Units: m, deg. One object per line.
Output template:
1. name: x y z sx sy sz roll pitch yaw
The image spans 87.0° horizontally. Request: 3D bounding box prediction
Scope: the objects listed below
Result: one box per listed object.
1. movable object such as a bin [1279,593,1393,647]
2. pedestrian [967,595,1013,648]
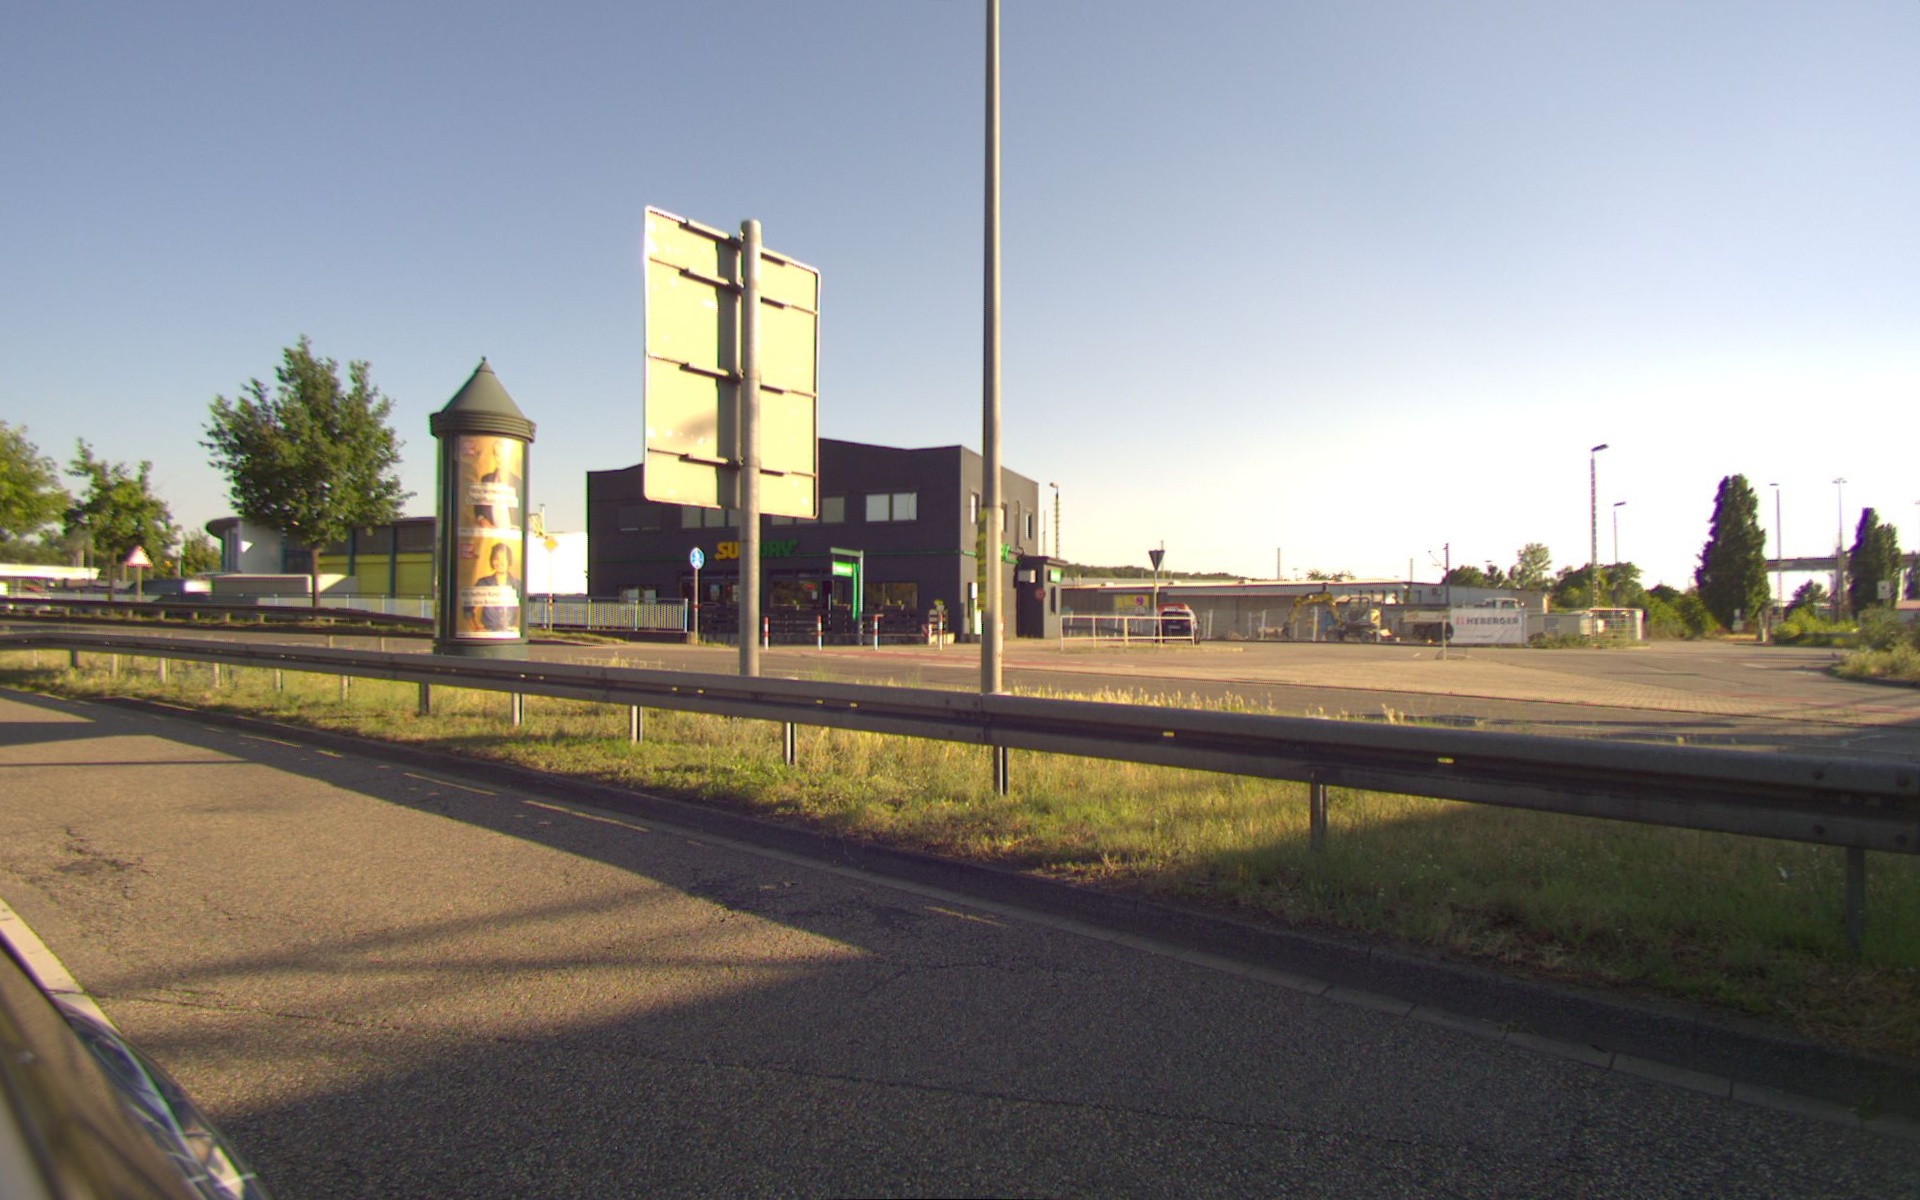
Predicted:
1. movable object such as a bin: 23.580 1.204 63.648 6.585 3.241 2.428 0 0 23
2. pedestrian: 1.060 0.745 36.121 1.084 1.849 1.258 0 0 41
